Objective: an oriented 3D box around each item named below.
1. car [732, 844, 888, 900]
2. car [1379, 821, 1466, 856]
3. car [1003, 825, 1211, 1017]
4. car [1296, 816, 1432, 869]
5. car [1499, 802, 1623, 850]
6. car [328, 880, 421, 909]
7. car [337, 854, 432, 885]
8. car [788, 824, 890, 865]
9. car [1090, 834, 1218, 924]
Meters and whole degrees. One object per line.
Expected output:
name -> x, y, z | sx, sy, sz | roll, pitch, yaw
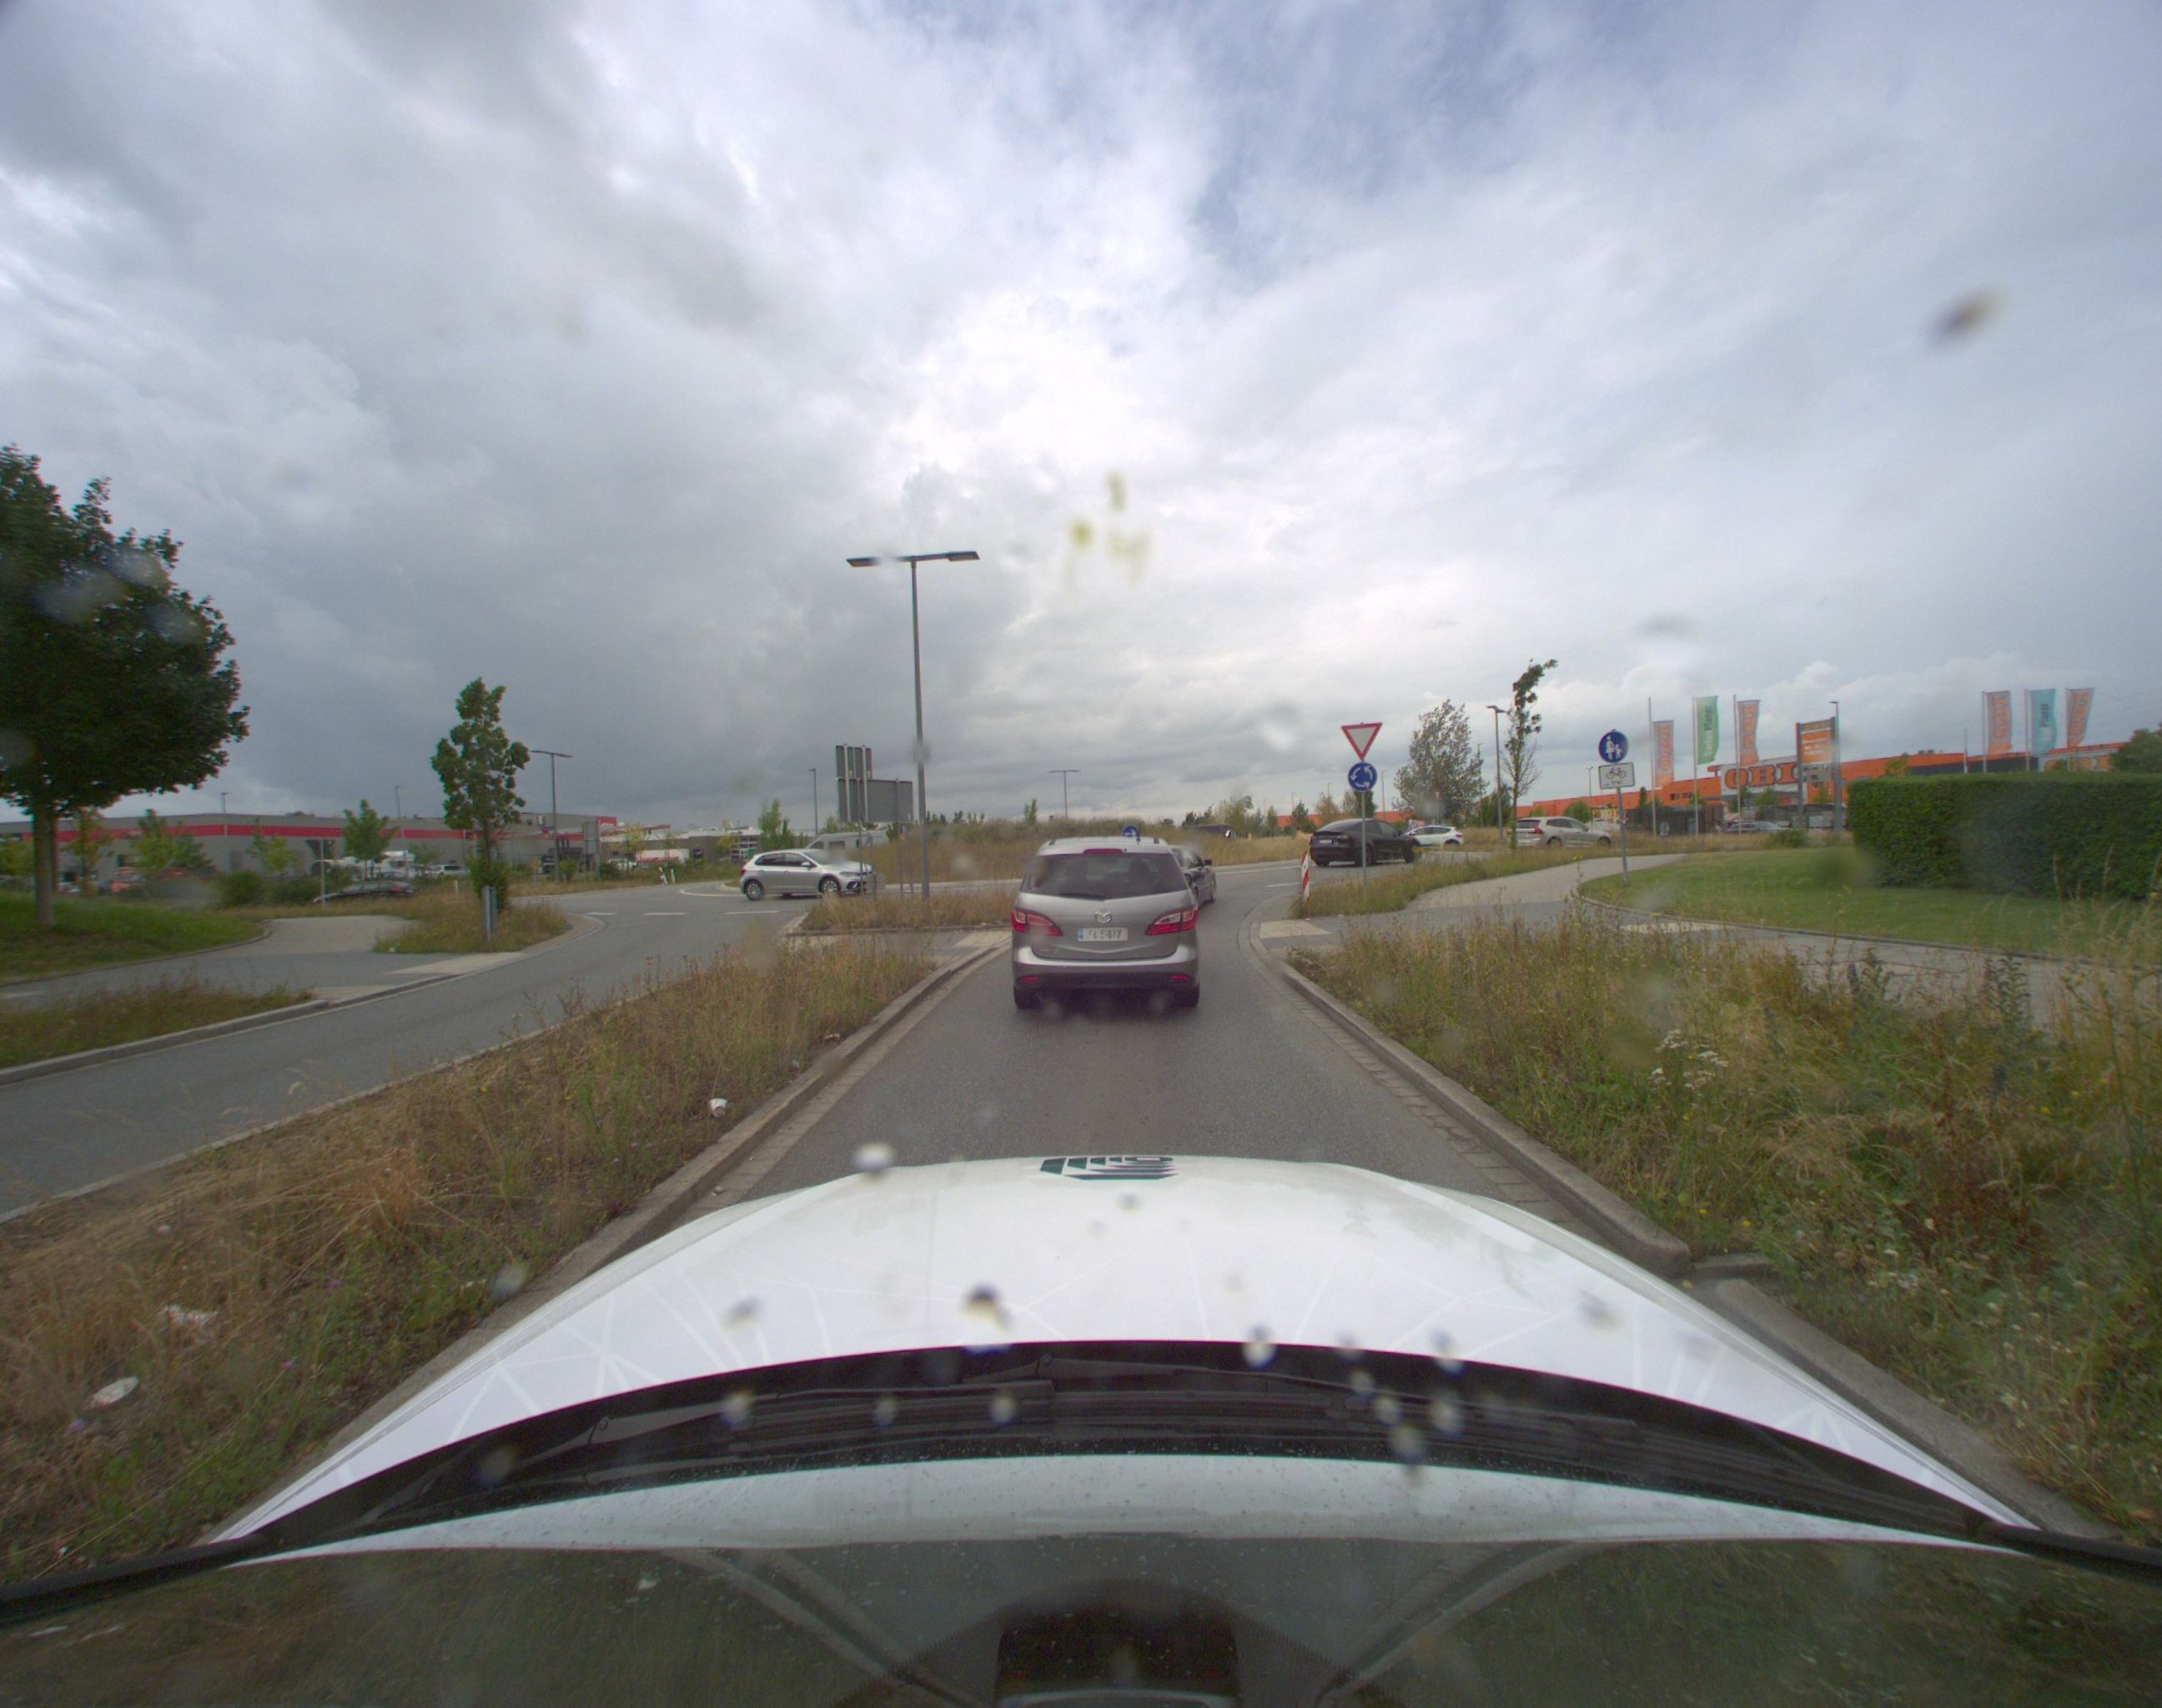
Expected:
car -> -7.995, 0.537, 24.125 | 3.957, 1.464, 1.821 | -3, -1, 15
car -> 18.775, -0.856, 44.921 | 4.289, 1.648, 1.880 | -2, 2, 20
car -> 0.283, 0.520, 8.831 | 1.731, 1.598, 4.000 | -1, 1, 2
car -> 9.841, -0.442, 28.181 | 4.794, 1.498, 1.924 | -5, 3, -34
car -> 20.469, -1.216, 34.734 | 4.776, 1.738, 1.931 | -4, 2, -20
car -> -36.987, 2.126, 42.665 | 3.814, 1.325, 1.474 | -2, 0, 7
car -> -66.194, 1.433, 77.688 | 2.455, 2.820, 7.687 | -1, -1, 0
car -> -14.980, -0.572, 50.430 | 5.726, 2.387, 2.260 | 0, -1, -28
car -> 1.565, 0.385, 15.972 | 1.724, 1.403, 4.016 | 0, 3, 16
